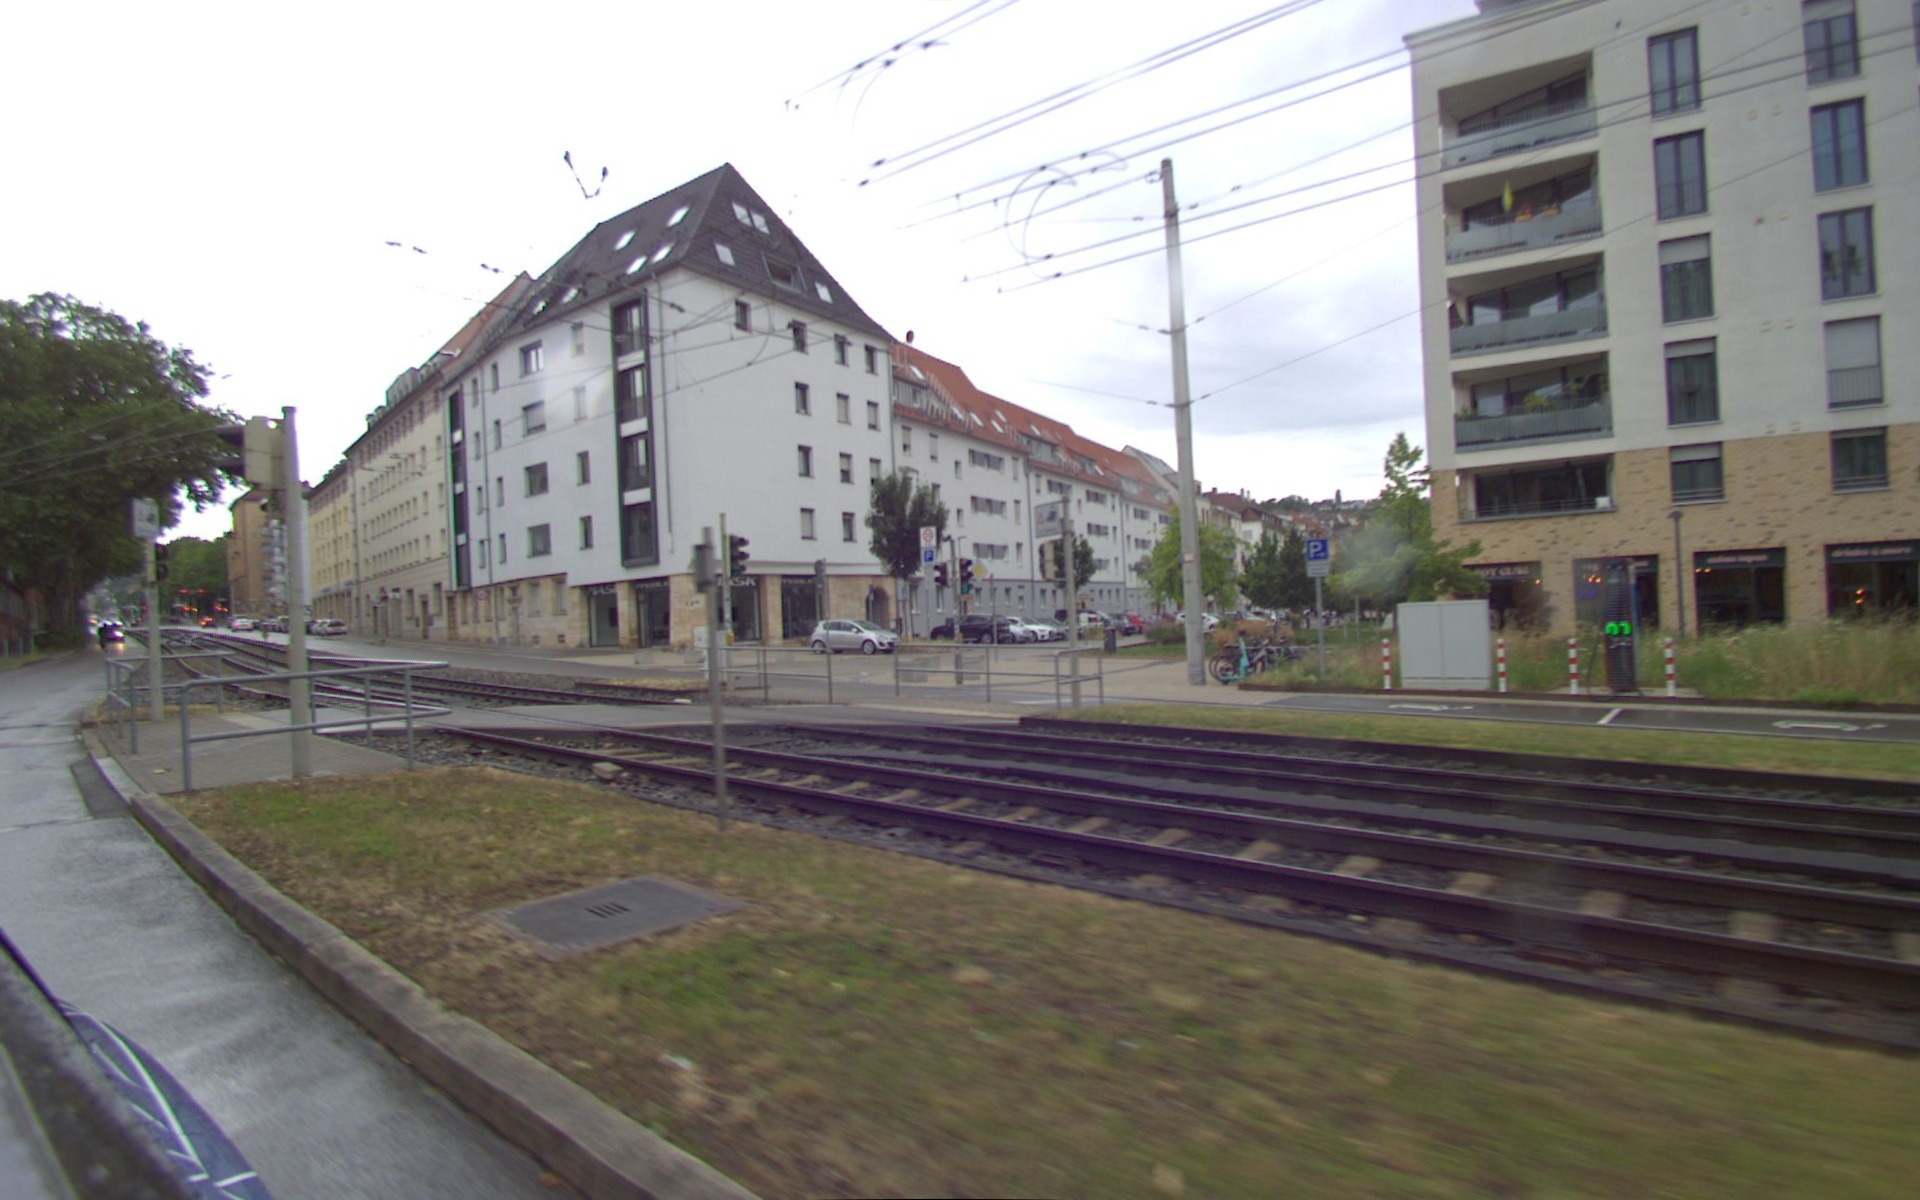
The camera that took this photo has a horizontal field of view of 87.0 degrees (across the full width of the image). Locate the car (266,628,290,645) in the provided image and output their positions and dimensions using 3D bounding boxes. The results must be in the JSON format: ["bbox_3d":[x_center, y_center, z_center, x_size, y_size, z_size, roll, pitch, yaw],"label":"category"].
[{"bbox_3d":[-75.884,4.091,112.590,1.702,1.822,3.596,0,-1,-43],"label":"car"}]

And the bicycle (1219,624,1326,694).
[{"bbox_3d":[7.430,1.378,24.154,2.359,1.608,0.668,-1,-1,40],"label":"bicycle"}]

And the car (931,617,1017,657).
[{"bbox_3d":[0.694,1.899,52.003,3.984,2.029,1.921,-2,-2,30],"label":"car"}]

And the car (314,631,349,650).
[{"bbox_3d":[-57.071,3.652,91.875,2.000,1.554,4.004,0,-1,-43],"label":"car"}]

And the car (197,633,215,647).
[{"bbox_3d":[-113.546,5.980,152.359,1.919,2.029,4.007,0,-1,-39],"label":"car"}]

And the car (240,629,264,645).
[{"bbox_3d":[-91.931,4.759,131.318,2.000,2.029,4.232,0,-1,-43],"label":"car"}]

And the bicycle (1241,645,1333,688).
[{"bbox_3d":[8.354,1.683,25.947,2.230,1.055,0.469,-2,-2,44],"label":"bicycle"}]

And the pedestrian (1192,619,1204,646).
[{"bbox_3d":[17.950,2.439,76.296,0.718,2.029,0.732,-2,-2,26],"label":"pedestrian"}]

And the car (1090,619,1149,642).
[{"bbox_3d":[11.981,2.313,76.094,3.984,1.630,1.921,-2,-2,30],"label":"car"}]

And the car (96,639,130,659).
[{"bbox_3d":[-69.124,3.965,82.648,1.860,1.502,3.858,1,-1,-36],"label":"car"}]

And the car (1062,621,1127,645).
[{"bbox_3d":[9.193,2.252,69.110,3.984,1.630,1.921,-2,-2,30],"label":"car"}]

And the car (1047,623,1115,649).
[{"bbox_3d":[8.015,2.395,67.078,3.985,1.630,1.920,-2,-2,31],"label":"car"}]

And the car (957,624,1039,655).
[{"bbox_3d":[2.059,2.126,54.492,3.984,1.630,1.921,-2,-2,30],"label":"car"}]

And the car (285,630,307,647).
[{"bbox_3d":[-68.539,3.956,104.413,1.357,1.766,3.410,0,-1,-43],"label":"car"}]

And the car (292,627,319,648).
[{"bbox_3d":[-64.876,3.695,100.348,1.703,1.975,4.306,0,-1,-41],"label":"car"}]

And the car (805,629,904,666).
[{"bbox_3d":[-4.411,1.967,42.269,3.897,1.431,1.586,-1,-1,27],"label":"car"}]

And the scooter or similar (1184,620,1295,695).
[{"bbox_3d":[6.226,1.255,22.660,2.359,1.608,0.593,-1,-1,40],"label":"scooter or similar"}]

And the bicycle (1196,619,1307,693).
[{"bbox_3d":[6.677,1.258,23.261,2.359,1.608,0.668,-1,-1,40],"label":"bicycle"}]

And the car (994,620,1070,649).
[{"bbox_3d":[4.192,1.997,58.991,3.984,1.630,1.921,-2,-2,30],"label":"car"}]

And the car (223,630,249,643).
[{"bbox_3d":[-85.880,4.335,119.953,5.019,1.548,1.667,-2,-2,44],"label":"car"}]

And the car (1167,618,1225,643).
[{"bbox_3d":[19.518,2.512,83.679,4.320,2.029,1.824,-2,-2,38],"label":"car"}]

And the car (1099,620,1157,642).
[{"bbox_3d":[12.988,2.376,78.341,3.984,1.630,1.921,-2,-2,30],"label":"car"}]

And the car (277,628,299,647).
[{"bbox_3d":[-71.736,3.971,108.017,1.533,1.897,4.048,0,-1,-40],"label":"car"}]

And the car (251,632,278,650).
[{"bbox_3d":[-79.950,4.688,116.289,2.000,2.029,4.232,0,-1,-43],"label":"car"}]

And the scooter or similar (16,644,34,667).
[{"bbox_3d":[-53.282,3.143,57.672,0.394,1.201,1.367,0,1,-26],"label":"scooter or similar"}]

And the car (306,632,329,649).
[{"bbox_3d":[-60.439,3.816,95.146,1.307,1.495,3.194,0,-1,-43],"label":"car"}]
